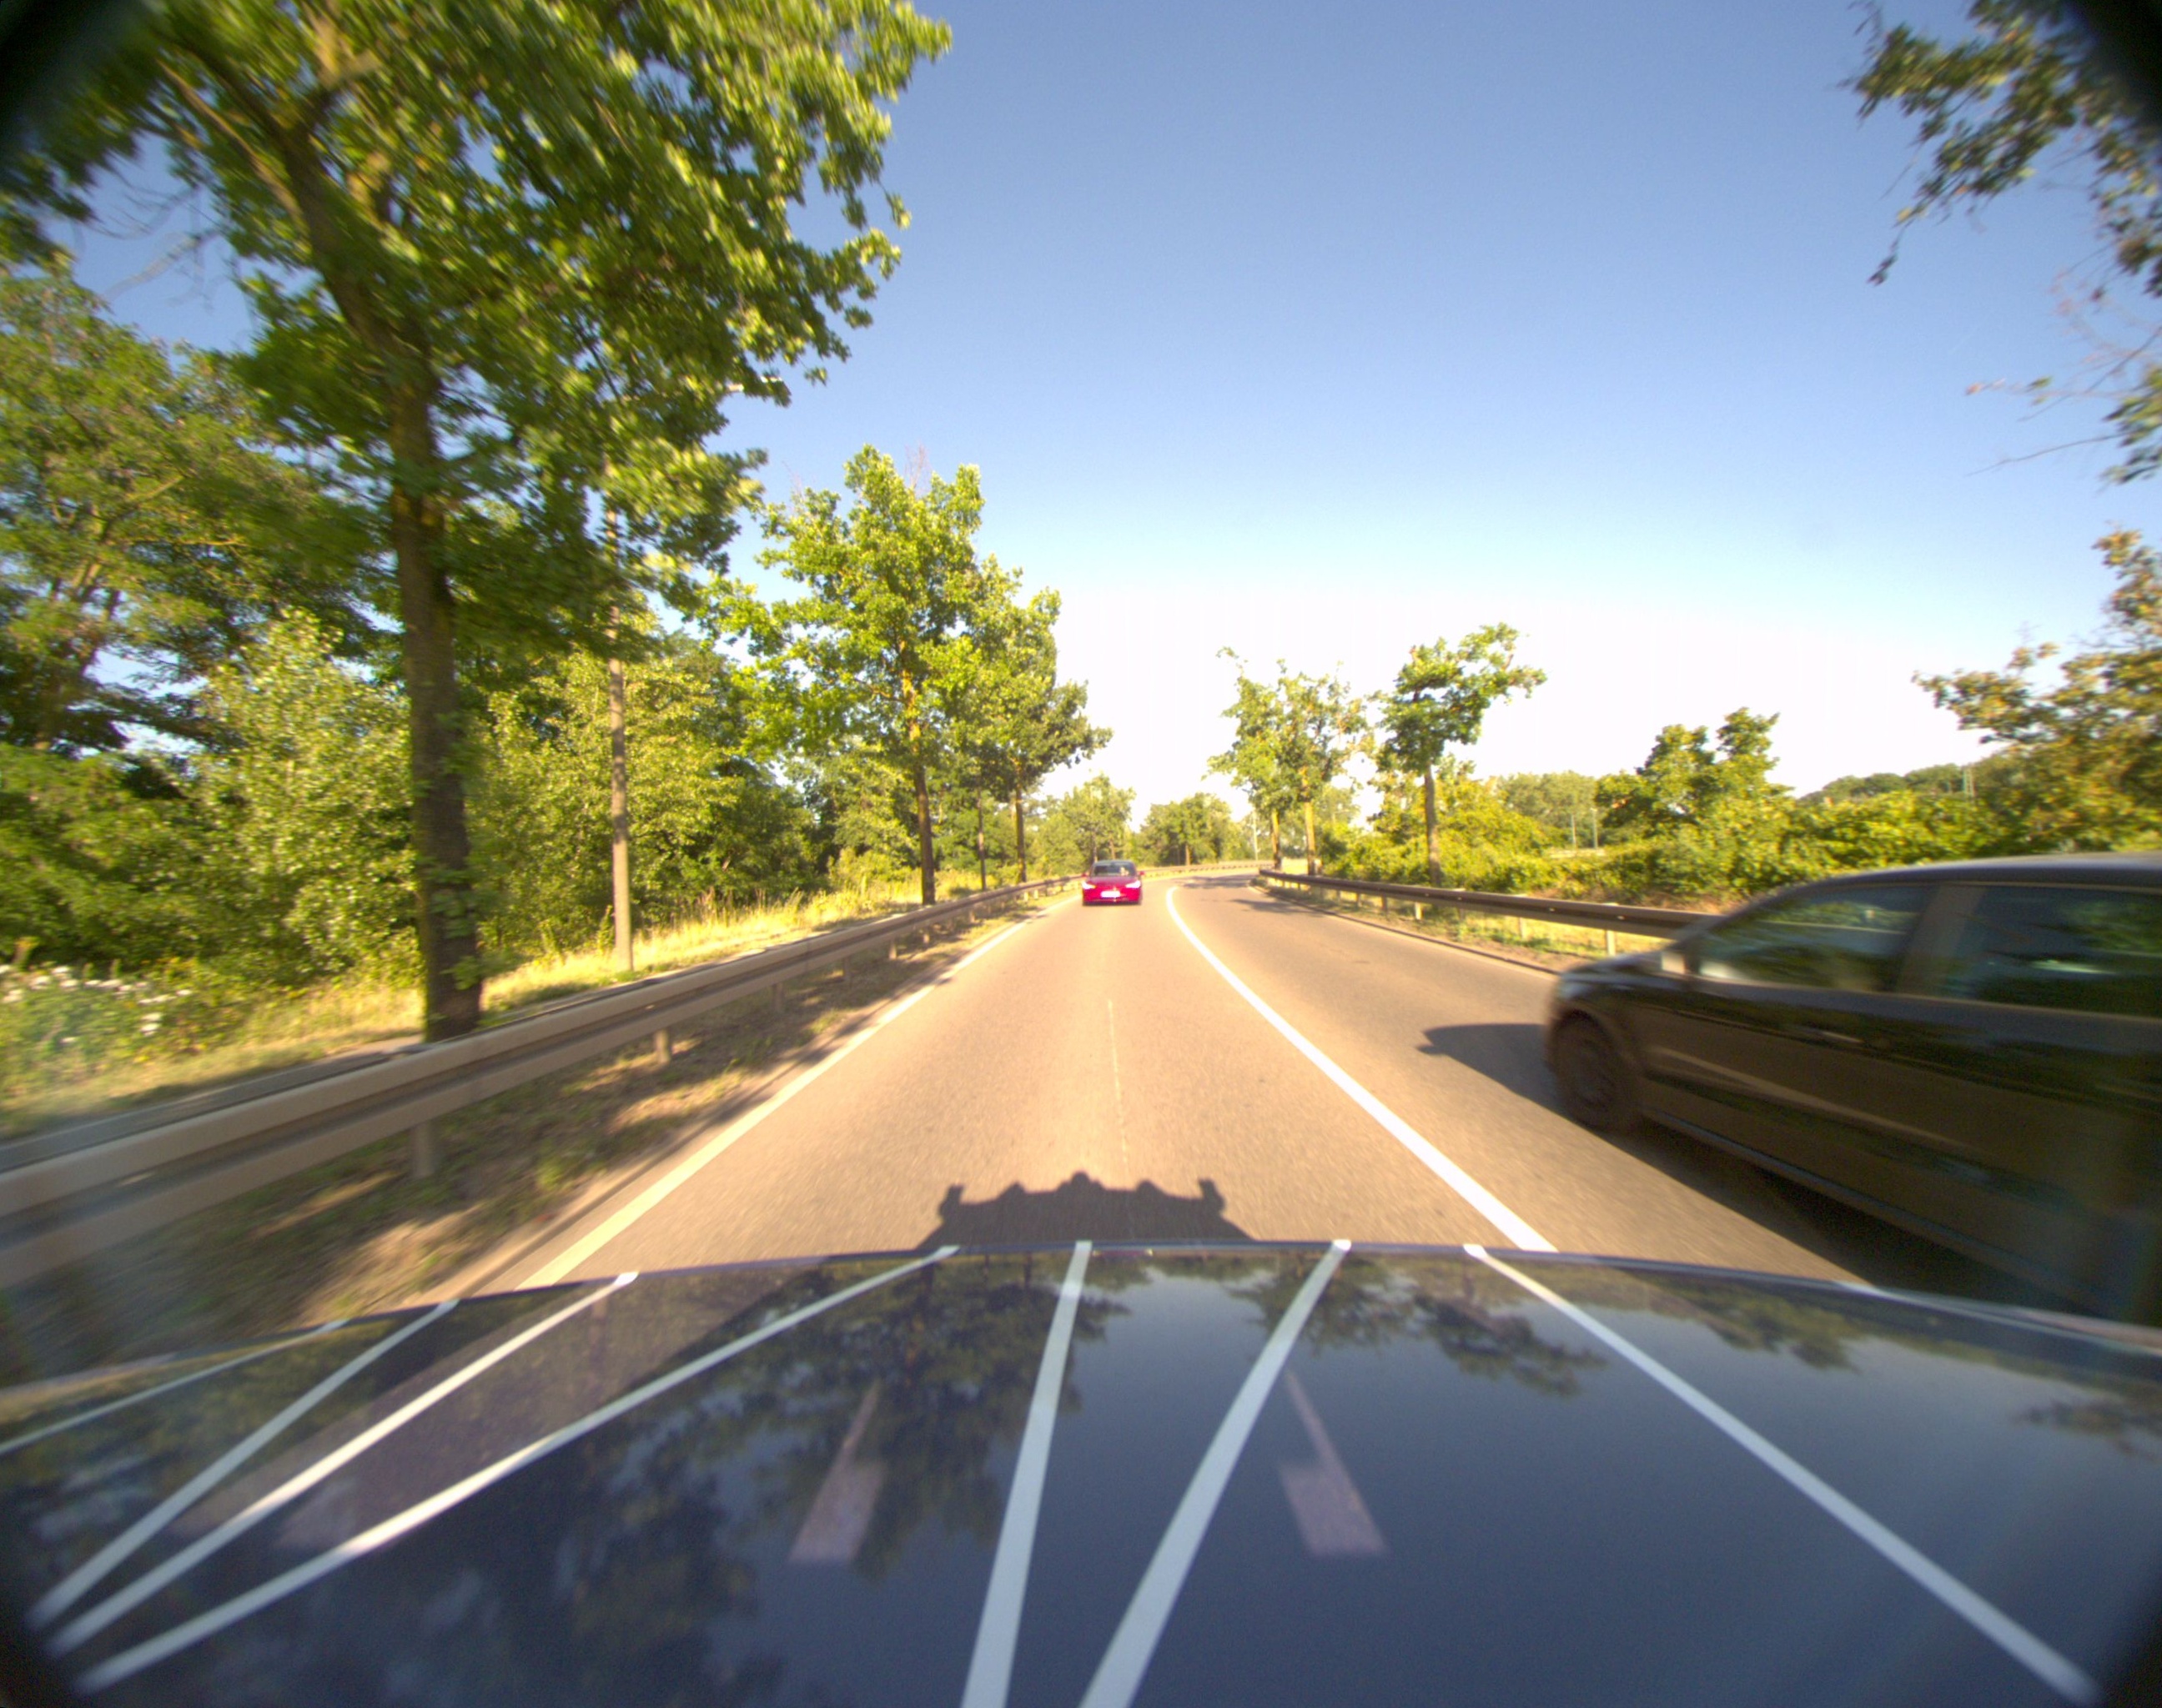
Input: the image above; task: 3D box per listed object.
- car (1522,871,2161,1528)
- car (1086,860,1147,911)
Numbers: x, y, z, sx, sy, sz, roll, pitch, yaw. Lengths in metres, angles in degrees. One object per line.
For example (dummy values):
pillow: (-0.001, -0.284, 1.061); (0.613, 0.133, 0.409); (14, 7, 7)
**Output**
car: (3.413, 0.847, 2.539); (1.700, 1.458, 3.859); (-2, 0, 2)
car: (1.136, 0.963, 25.084); (1.781, 1.434, 4.360); (-2, 0, 2)
